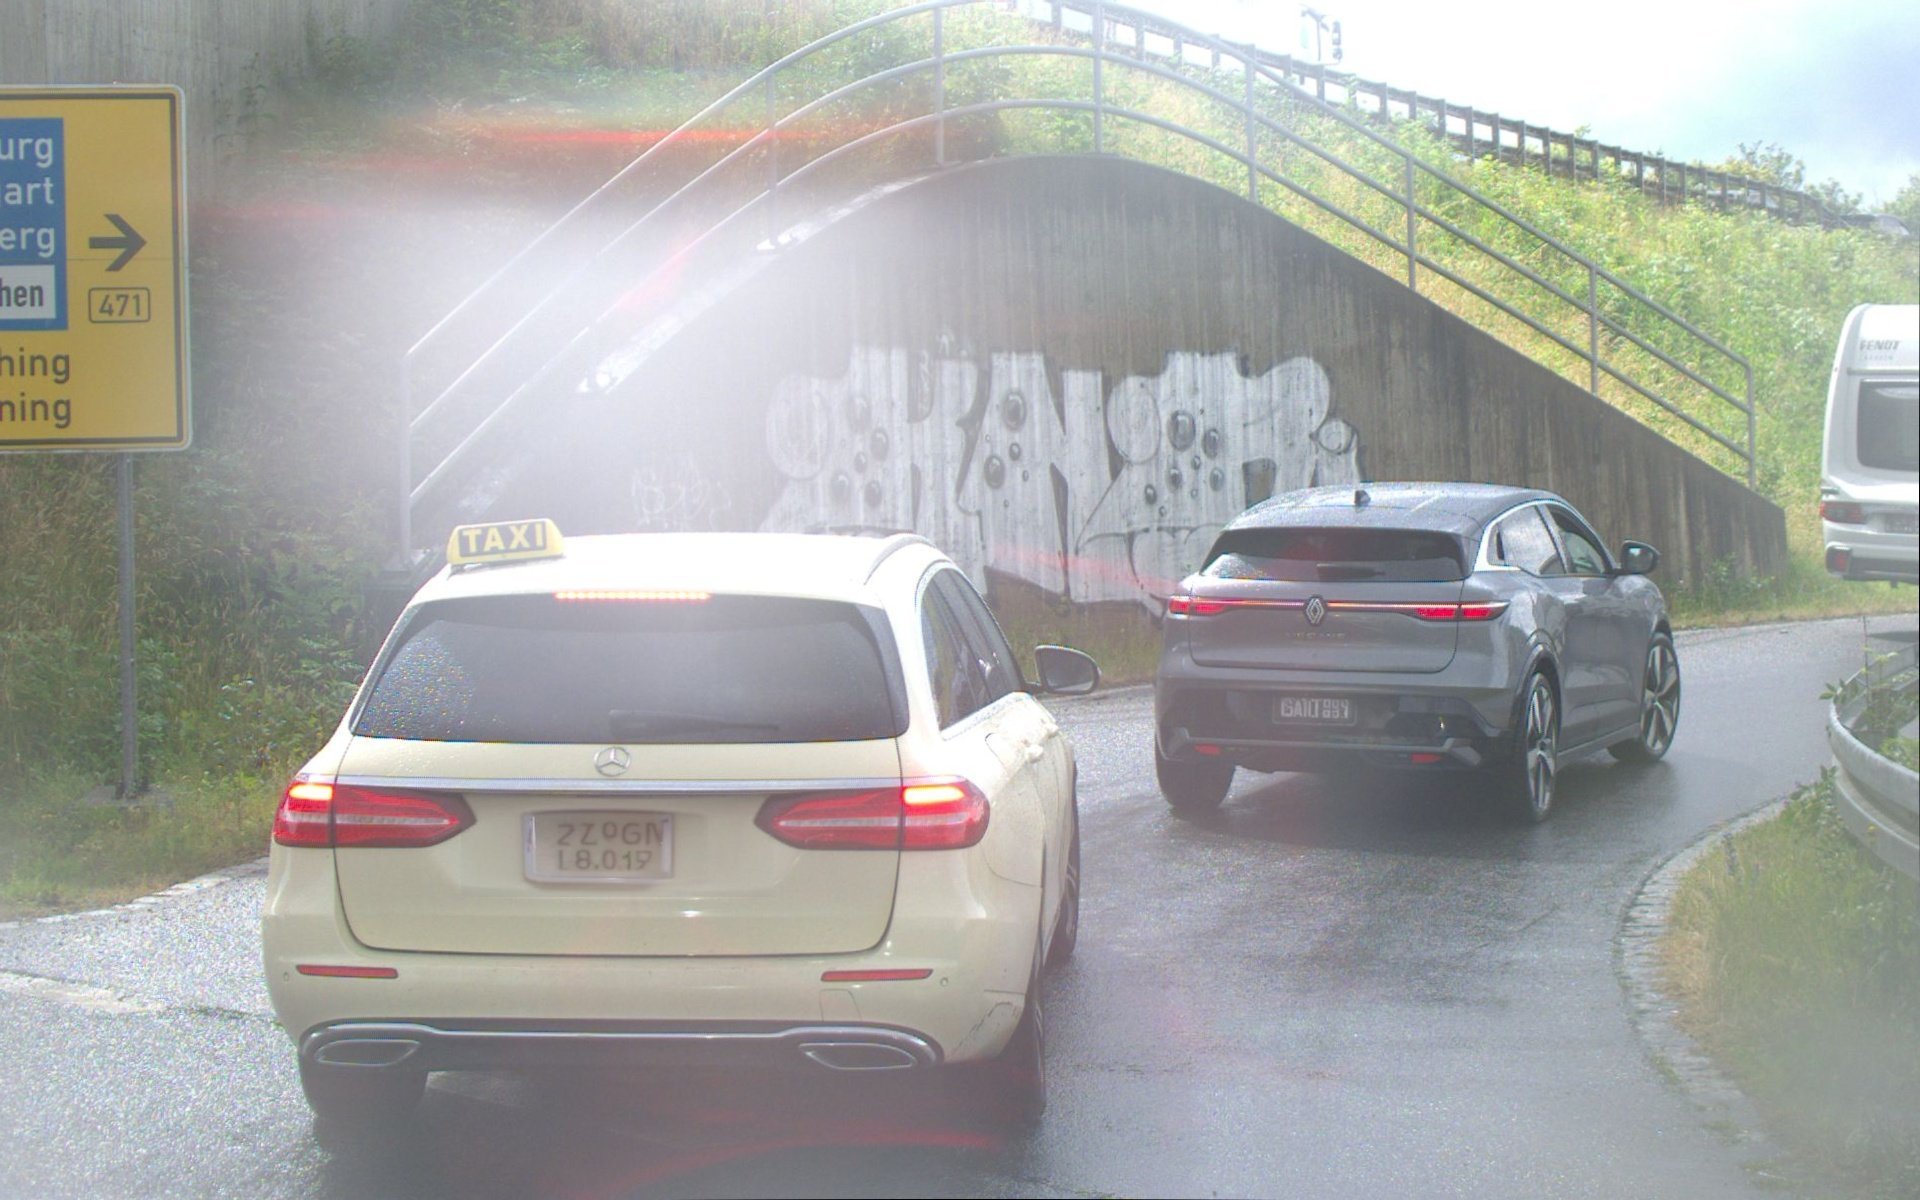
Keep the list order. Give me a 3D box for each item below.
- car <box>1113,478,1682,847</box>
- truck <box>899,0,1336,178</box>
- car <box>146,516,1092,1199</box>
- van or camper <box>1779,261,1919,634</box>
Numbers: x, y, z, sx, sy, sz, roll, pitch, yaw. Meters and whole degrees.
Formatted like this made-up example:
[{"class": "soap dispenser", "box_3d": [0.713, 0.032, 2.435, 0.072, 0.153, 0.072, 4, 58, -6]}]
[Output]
[{"class": "car", "box_3d": [2.258, 0.190, 16.781, 1.720, 1.519, 3.996, 1, 3, 23]}, {"class": "truck", "box_3d": [2.580, -8.764, 51.478, 3.185, 3.952, 9.225, 1, 2, 25]}, {"class": "car", "box_3d": [-0.656, 0.526, 9.718, 1.916, 1.502, 4.595, 0, 1, 4]}, {"class": "van or camper", "box_3d": [9.520, -1.248, 26.696, 5.981, 2.719, 2.439, -3, 4, -27]}]
